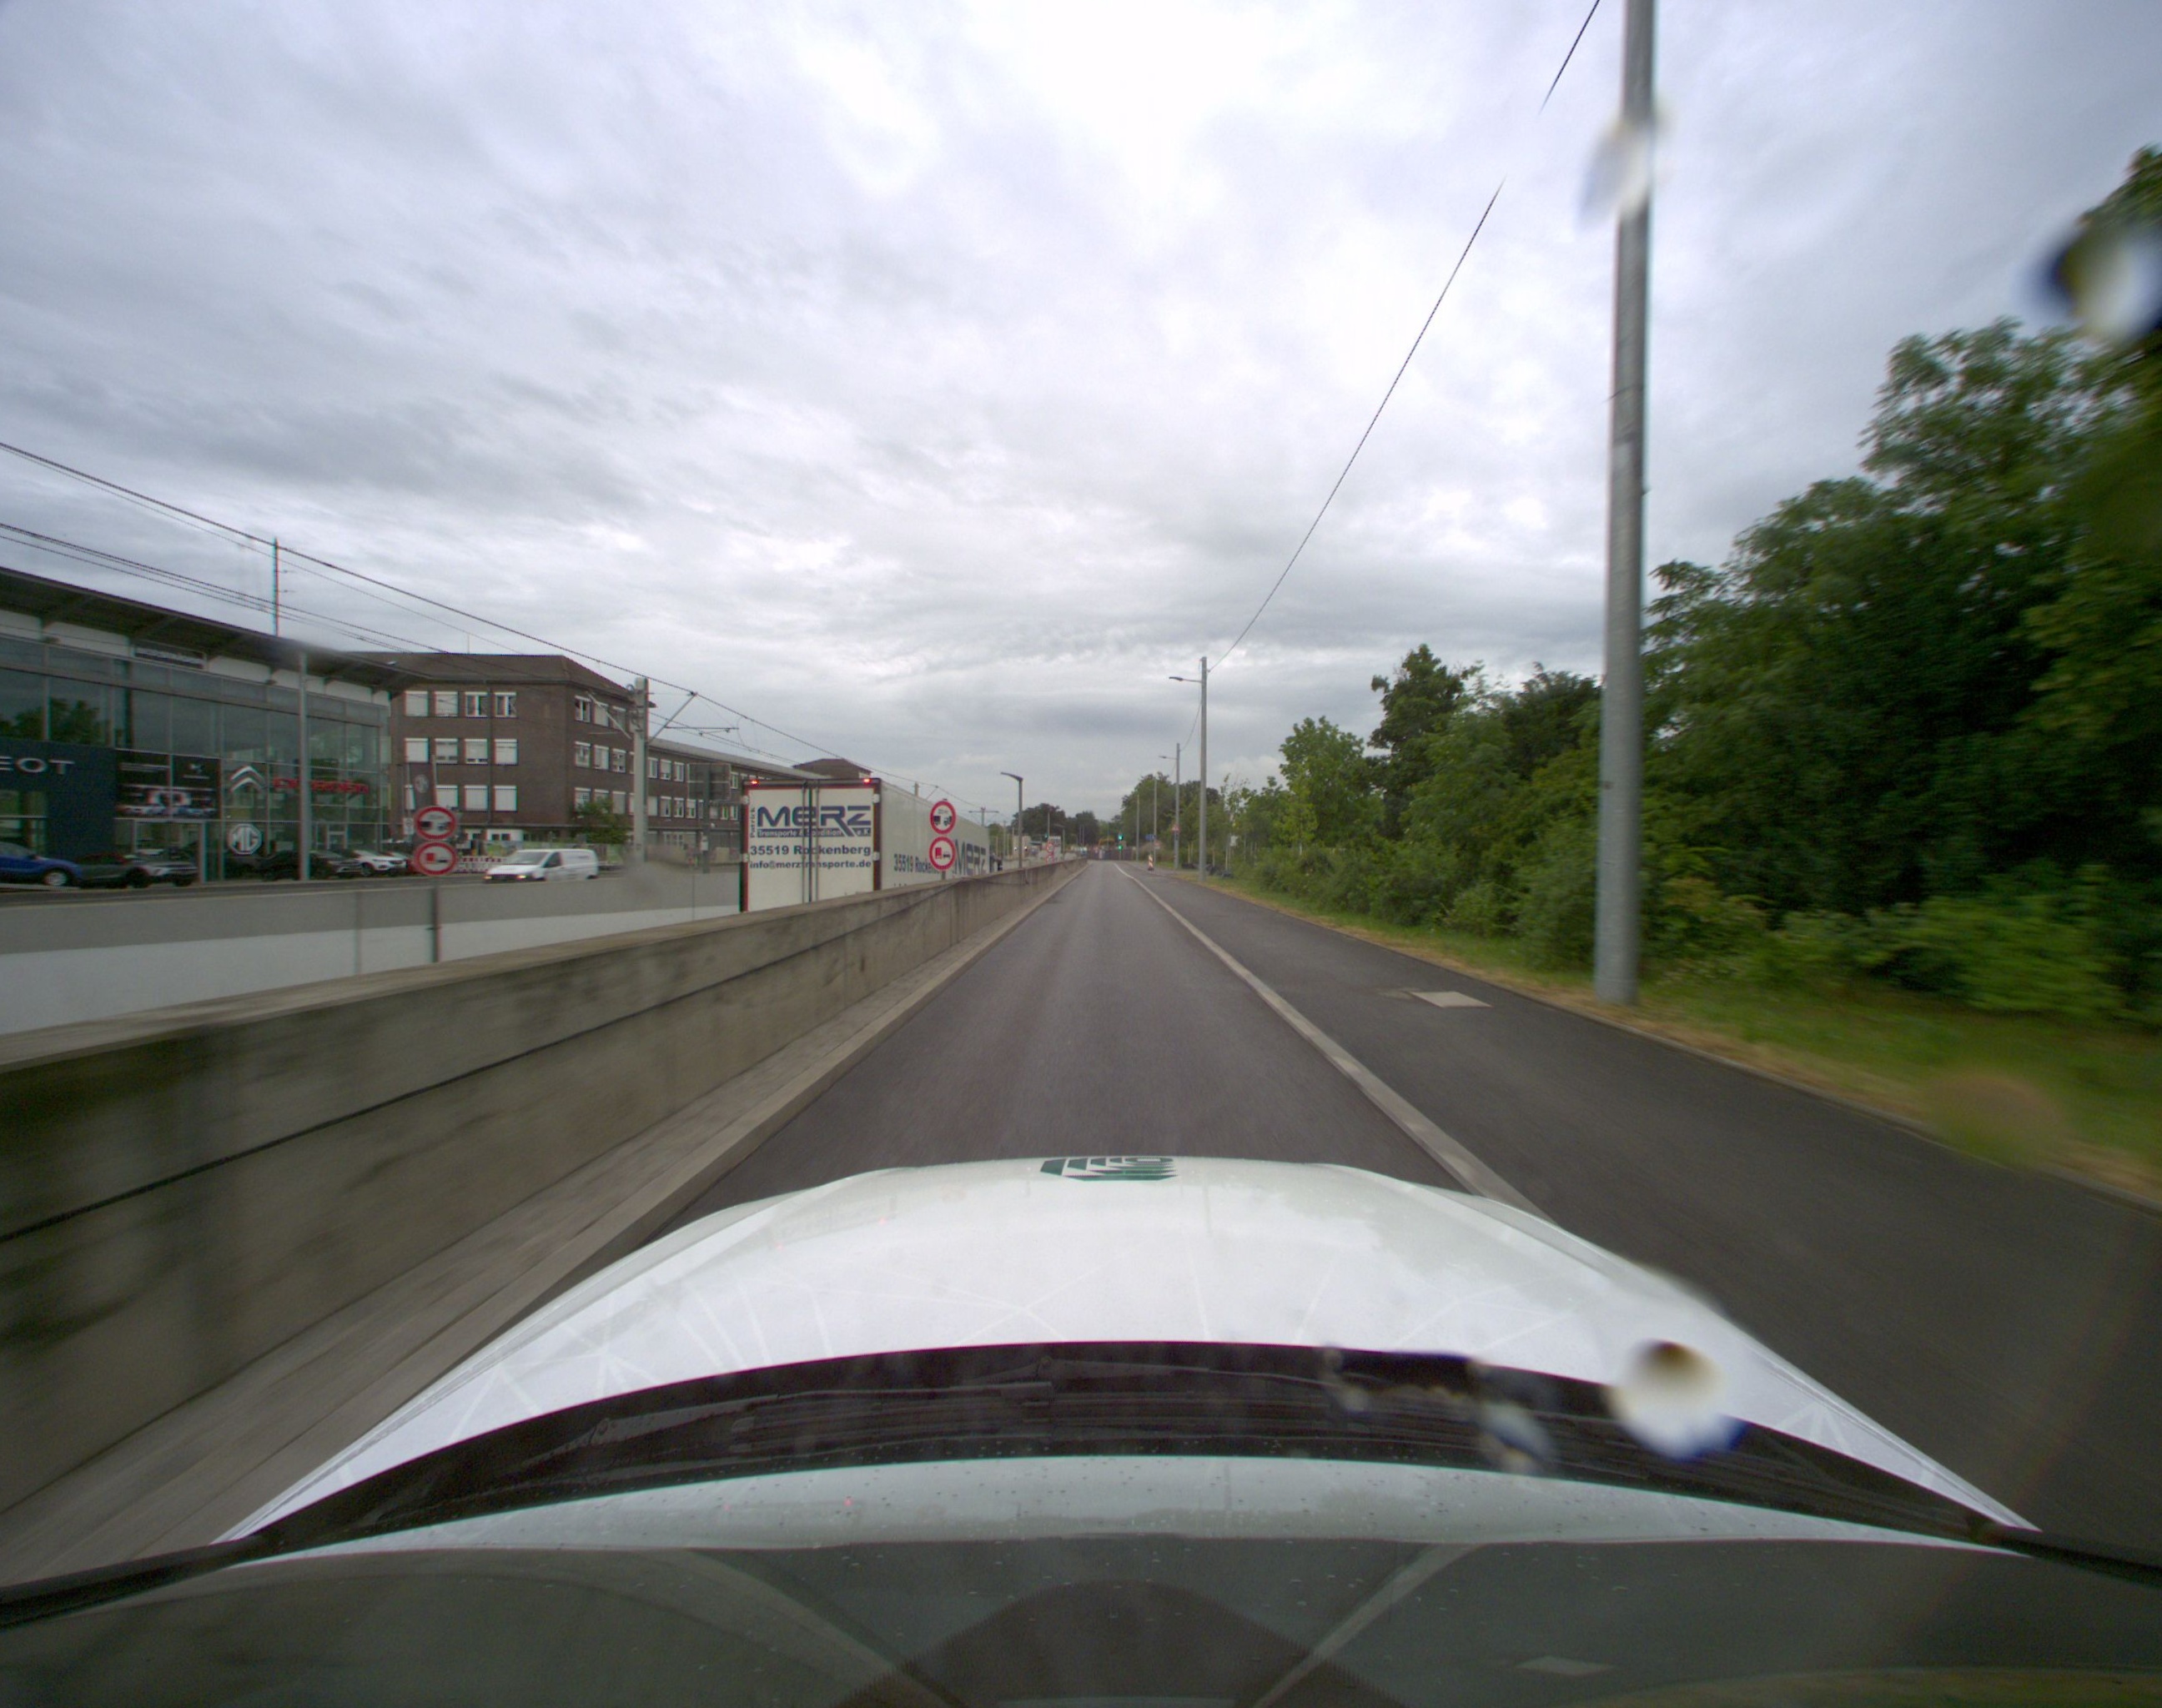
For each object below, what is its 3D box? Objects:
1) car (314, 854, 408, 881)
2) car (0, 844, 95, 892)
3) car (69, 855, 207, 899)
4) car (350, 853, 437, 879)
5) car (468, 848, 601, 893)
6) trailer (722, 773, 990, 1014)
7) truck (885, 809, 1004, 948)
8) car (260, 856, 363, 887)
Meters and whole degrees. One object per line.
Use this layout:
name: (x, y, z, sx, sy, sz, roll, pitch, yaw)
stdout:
car: (-38.393, 0.704, 43.486, 3.467, 1.397, 1.751, 0, 0, 1)
car: (-38.024, 0.489, 28.473, 1.751, 1.610, 4.076, 0, -3, 9)
car: (-38.196, 0.905, 33.047, 3.494, 1.402, 1.573, -5, 1, -2)
car: (-38.643, 0.676, 45.835, 3.471, 1.382, 1.617, -1, 0, -2)
car: (-22.166, 0.628, 33.336, 1.993, 1.695, 5.035, 0, 0, 1)
trailer: (-4.761, 0.708, 21.143, 2.752, 4.253, 13.190, -1, 0, 2)
truck: (-4.471, 0.760, 28.042, 2.745, 4.205, 6.309, -1, 0, 2)
car: (-38.523, 0.846, 40.818, 3.467, 1.474, 1.751, -1, 0, 1)
